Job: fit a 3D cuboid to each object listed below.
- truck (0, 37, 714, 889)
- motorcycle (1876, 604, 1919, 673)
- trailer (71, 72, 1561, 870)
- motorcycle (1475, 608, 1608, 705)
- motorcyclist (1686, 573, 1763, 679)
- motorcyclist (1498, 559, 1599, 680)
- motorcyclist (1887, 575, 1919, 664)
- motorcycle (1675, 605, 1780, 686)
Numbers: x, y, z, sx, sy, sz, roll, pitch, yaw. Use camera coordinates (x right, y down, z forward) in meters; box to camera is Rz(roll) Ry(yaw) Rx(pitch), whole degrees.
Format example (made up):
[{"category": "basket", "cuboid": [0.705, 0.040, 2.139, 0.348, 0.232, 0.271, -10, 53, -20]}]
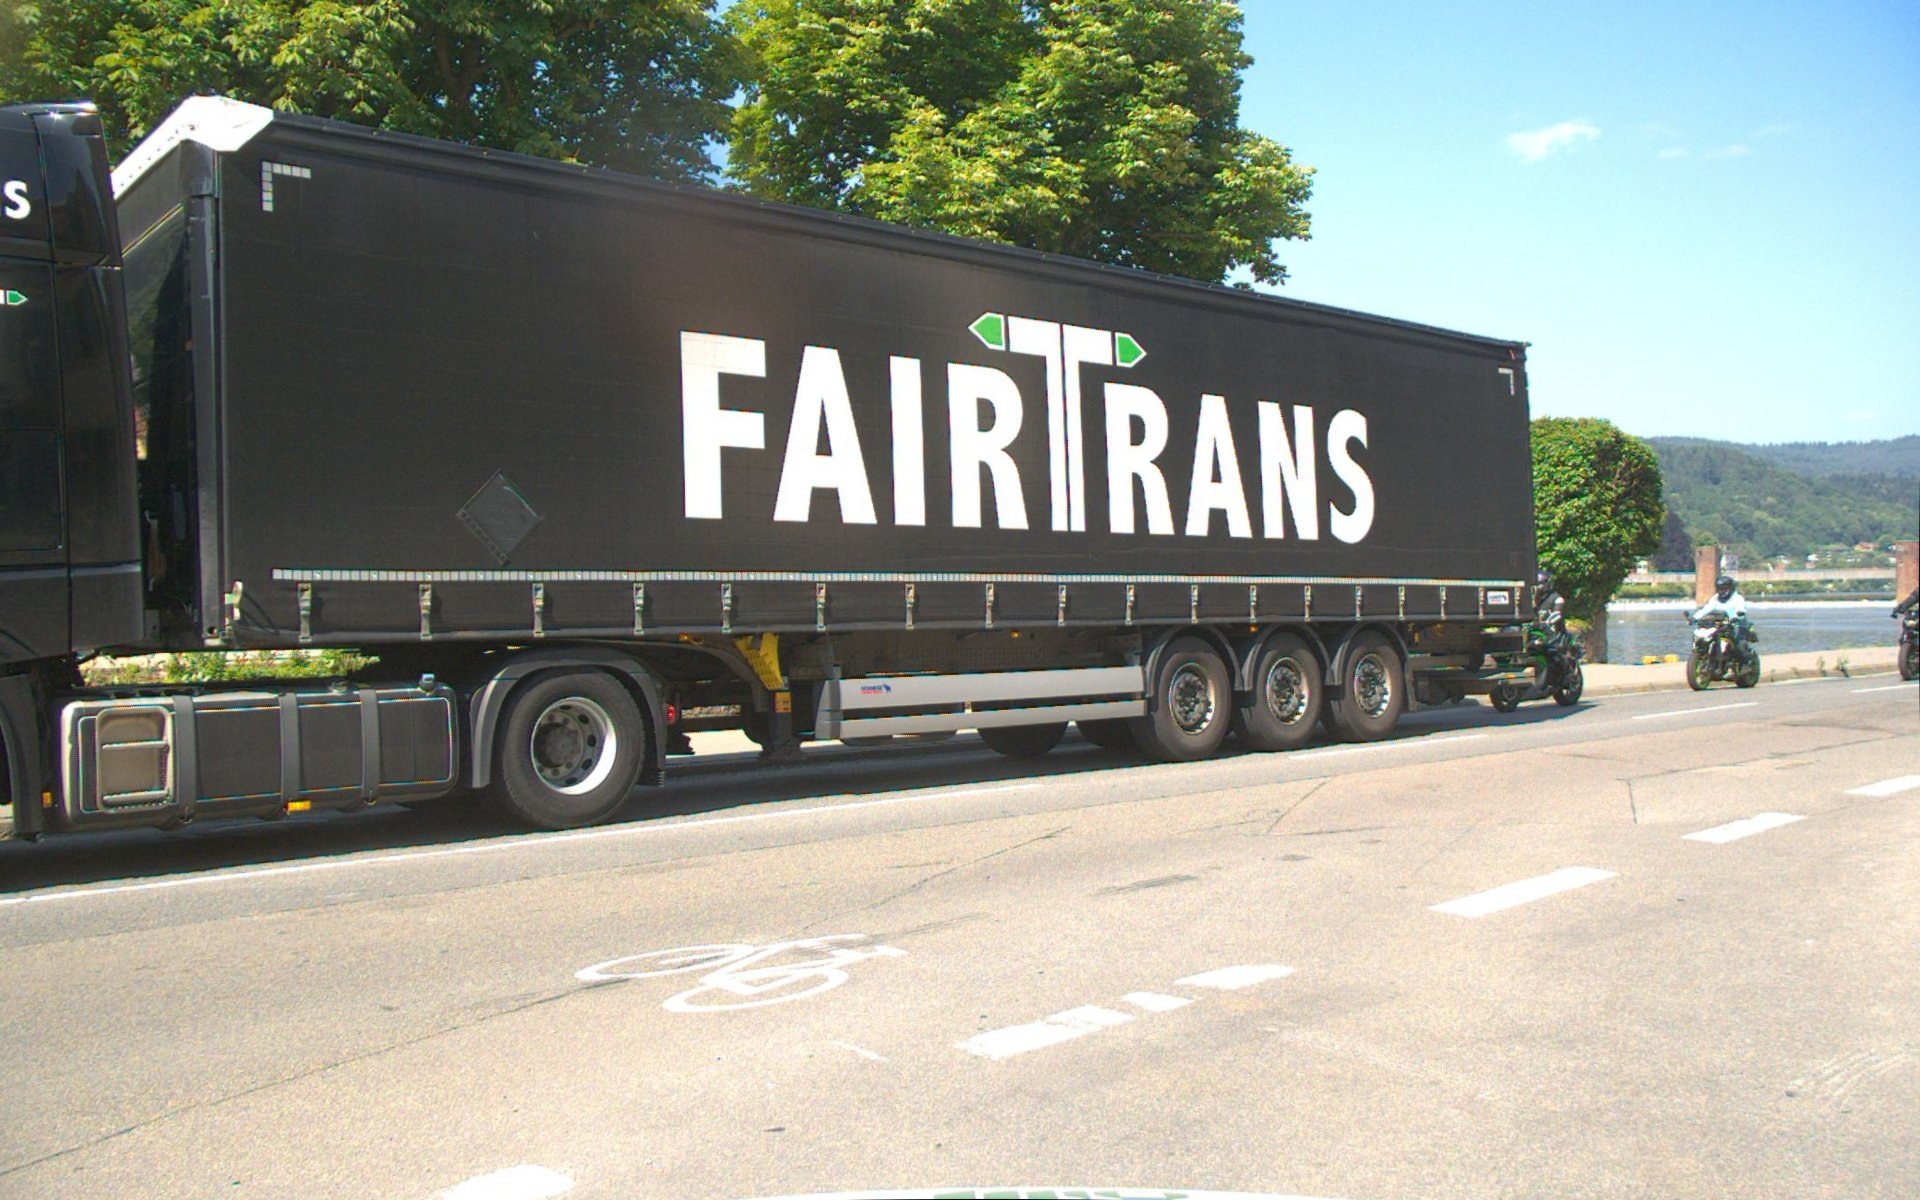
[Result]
[{"category": "truck", "cuboid": [-4.751, -0.638, 9.785, 5.879, 4.143, 2.797, -1, -2, -41]}, {"category": "motorcycle", "cuboid": [15.088, 0.586, 25.971, 1.799, 1.042, 0.649, -1, 0, -41]}, {"category": "trailer", "cuboid": [0.279, -0.726, 14.194, 13.648, 4.176, 2.800, -1, -2, -41]}, {"category": "motorcycle", "cuboid": [7.364, 0.700, 20.891, 2.075, 1.143, 0.625, -1, -2, -42]}, {"category": "motorcyclist", "cuboid": [11.458, 0.382, 24.782, 0.983, 1.551, 0.655, -1, -2, -42]}, {"category": "motorcyclist", "cuboid": [7.444, 0.253, 20.918, 0.983, 1.486, 0.769, -1, -2, -41]}, {"category": "motorcyclist", "cuboid": [15.134, 0.299, 25.957, 0.793, 1.390, 0.777, 0, -1, -41]}, {"category": "motorcycle", "cuboid": [11.553, 0.671, 24.855, 2.075, 1.143, 0.625, -1, -2, -42]}]
